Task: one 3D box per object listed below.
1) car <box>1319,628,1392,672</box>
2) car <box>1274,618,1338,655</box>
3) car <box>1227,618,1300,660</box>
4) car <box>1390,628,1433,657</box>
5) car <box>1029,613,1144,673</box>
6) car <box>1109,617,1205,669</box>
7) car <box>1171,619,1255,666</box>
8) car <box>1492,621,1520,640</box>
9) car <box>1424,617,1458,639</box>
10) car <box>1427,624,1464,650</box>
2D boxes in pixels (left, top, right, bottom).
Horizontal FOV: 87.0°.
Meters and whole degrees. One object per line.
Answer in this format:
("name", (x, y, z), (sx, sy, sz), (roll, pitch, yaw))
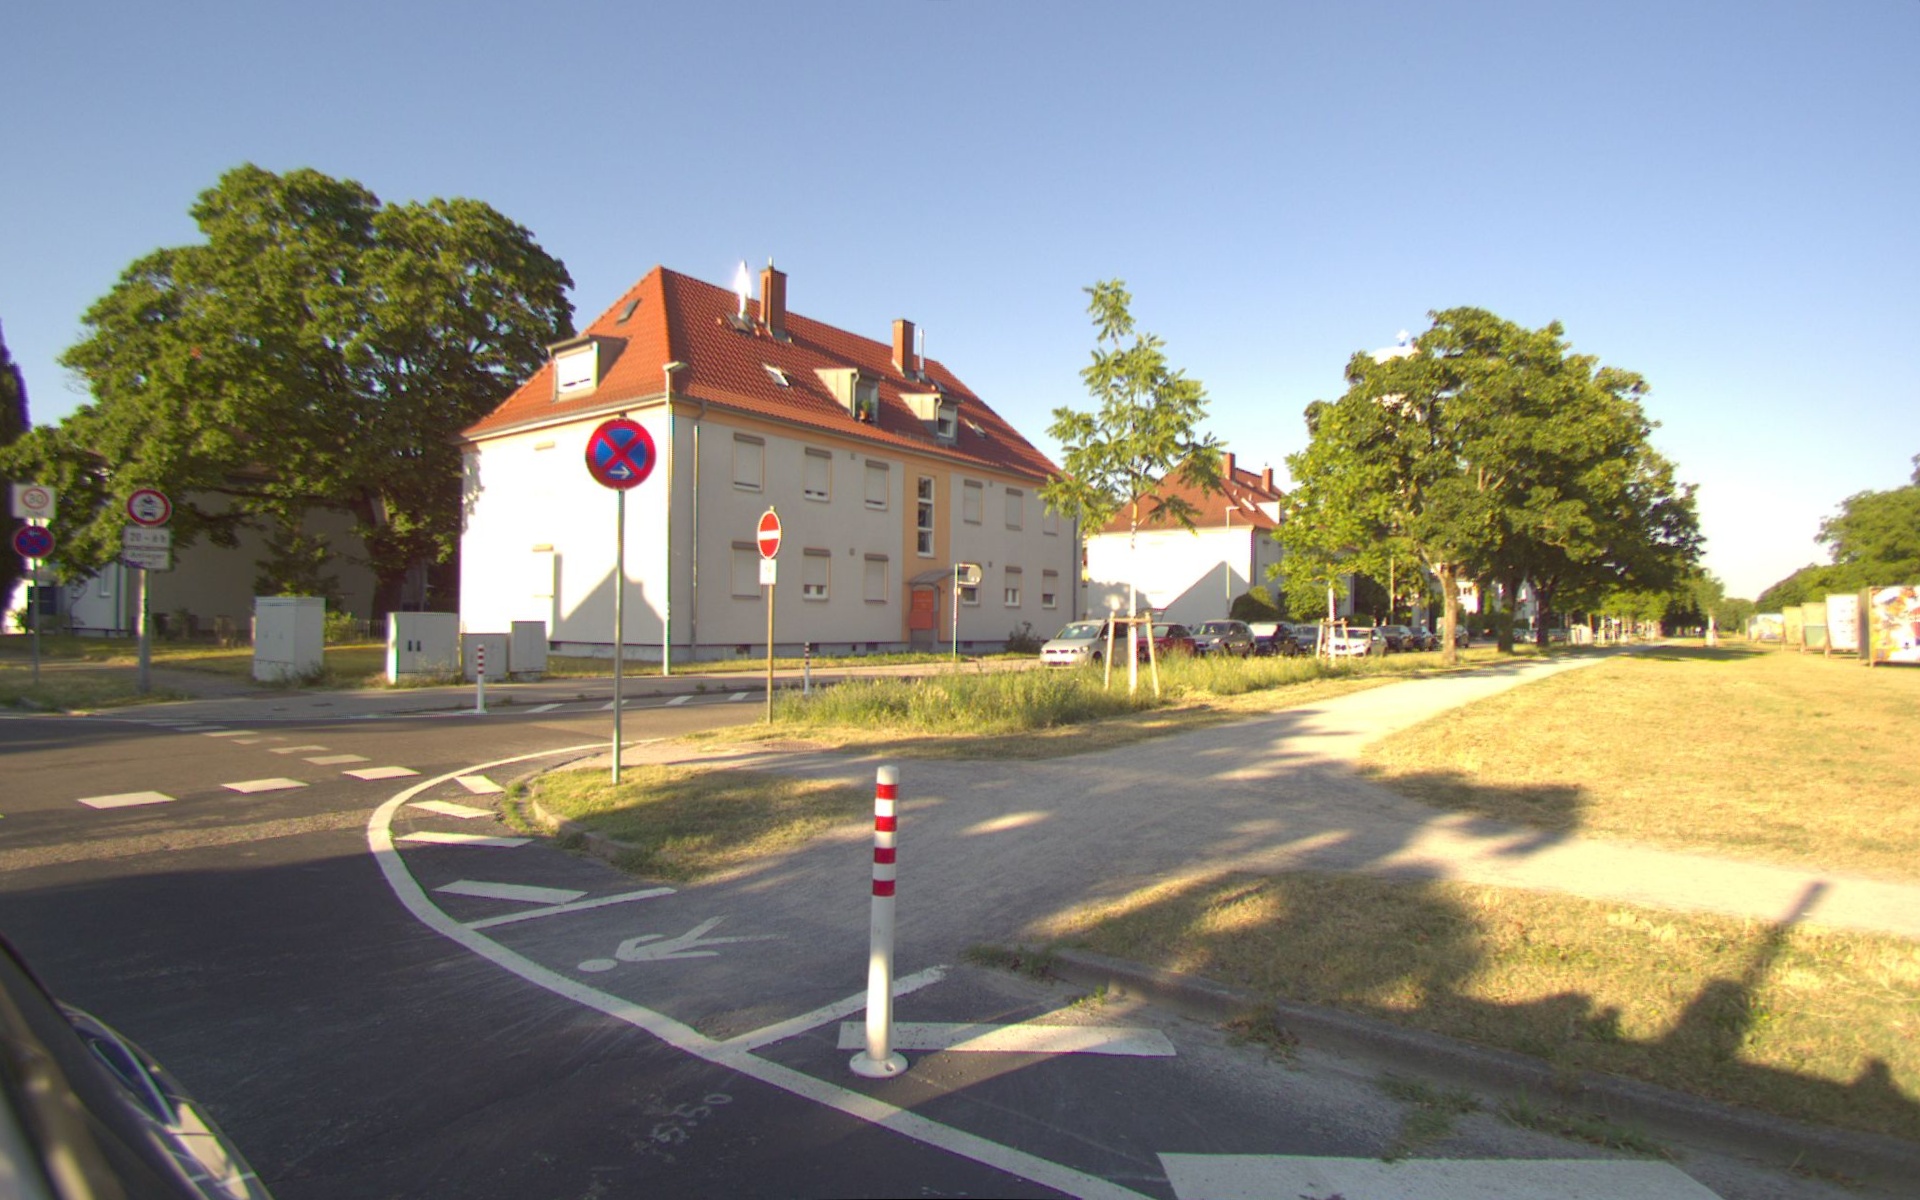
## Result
("car", (16.509, 2.055, 42.152), (1.866, 1.708, 4.249), (-2, -3, 35))
("car", (16.471, 1.722, 48.117), (1.847, 1.708, 3.952), (-2, -3, 35))
("car", (13.085, 1.673, 43.567), (1.847, 1.708, 3.952), (-2, -3, 35))
("car", (28.753, 2.699, 64.422), (1.804, 1.730, 3.303), (1, 0, 37))
("car", (3.923, 1.300, 30.896), (1.847, 1.708, 3.952), (-2, -3, 35))
("car", (6.974, 1.497, 35.532), (1.847, 1.708, 3.952), (-2, -3, 35))
("car", (9.784, 1.608, 38.981), (1.847, 1.708, 3.952), (-2, -3, 35))
("car", (52.245, 2.916, 96.819), (1.847, 1.708, 3.952), (-2, -3, 35))
("car", (39.265, 2.269, 82.509), (1.847, 1.708, 3.952), (-2, -3, 35))
("car", (35.241, 2.664, 73.383), (1.804, 1.730, 3.303), (1, 0, 37))
